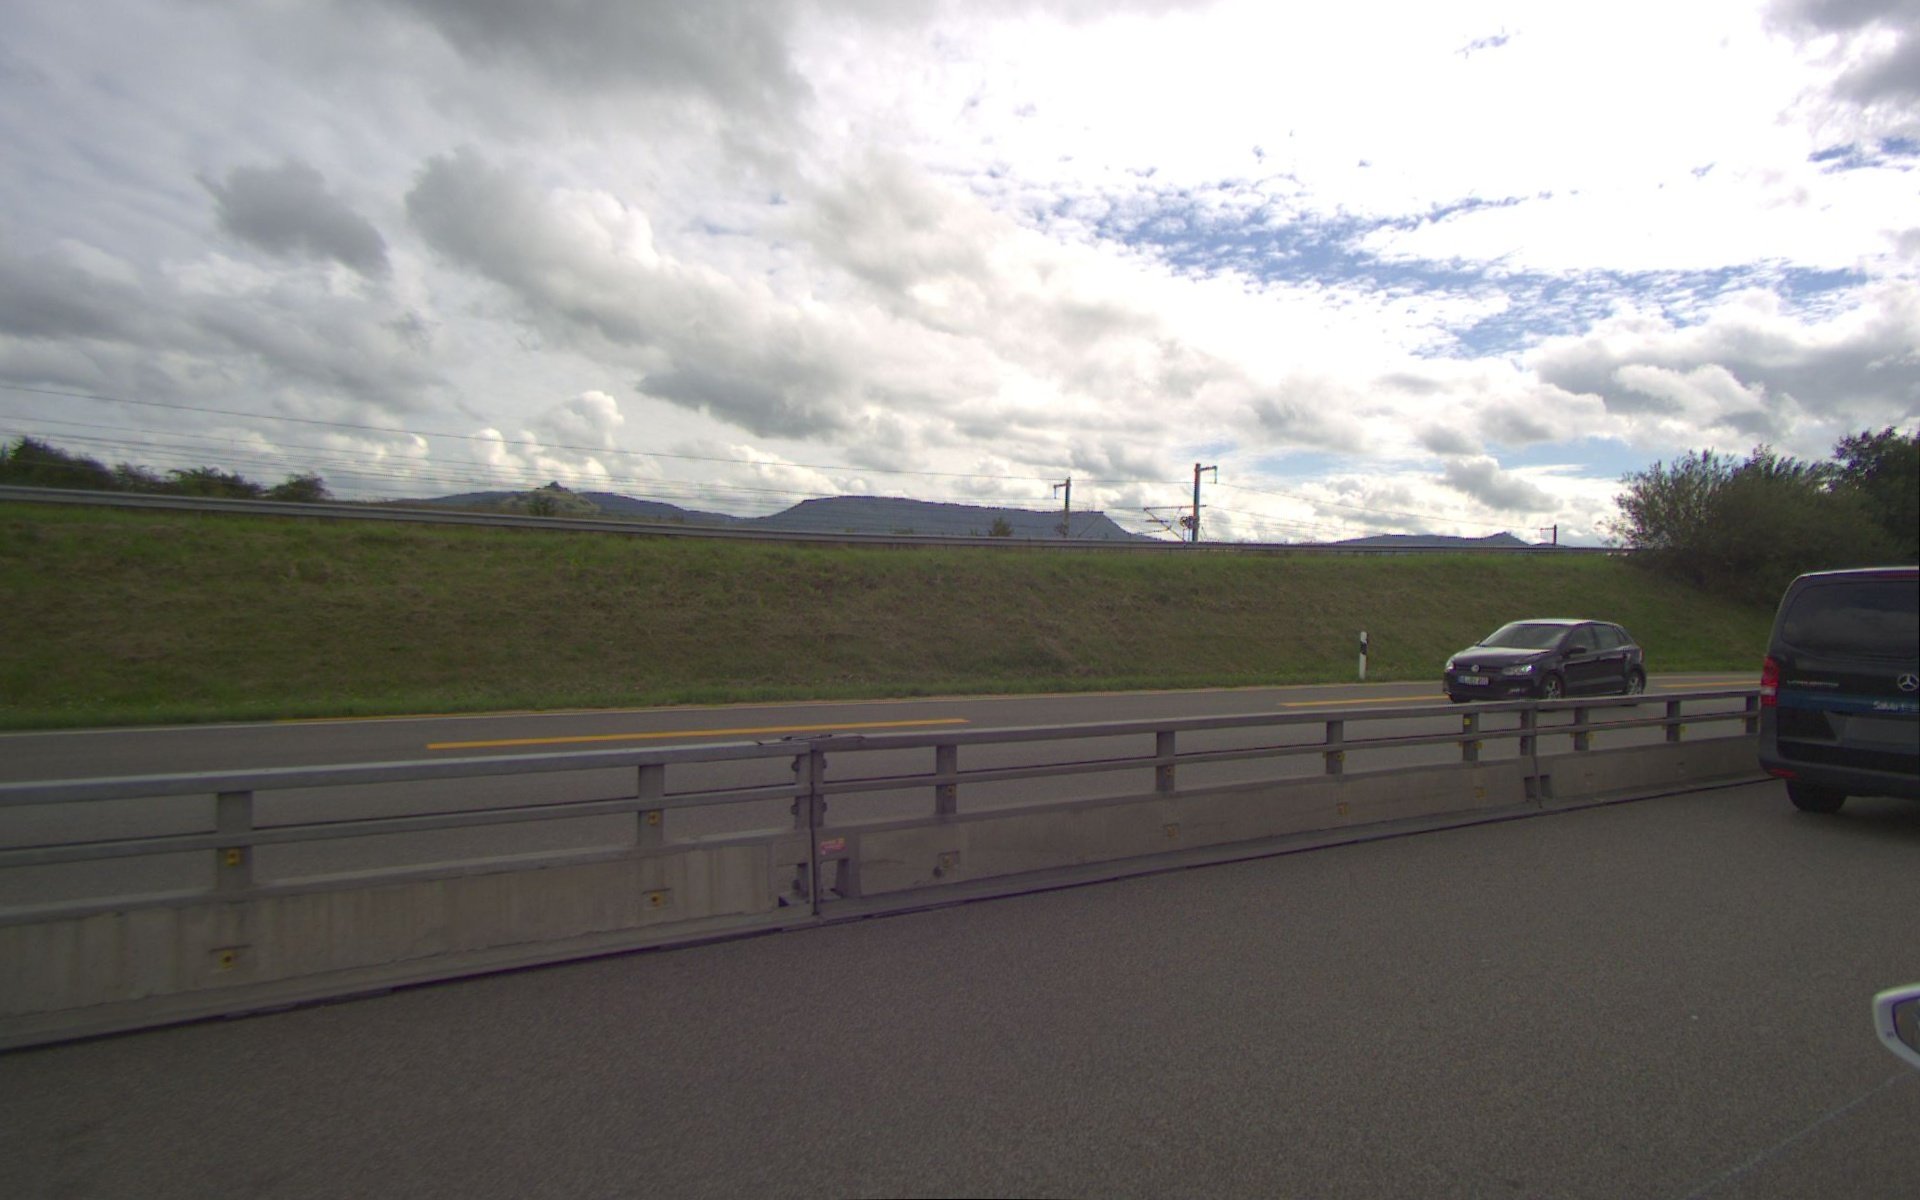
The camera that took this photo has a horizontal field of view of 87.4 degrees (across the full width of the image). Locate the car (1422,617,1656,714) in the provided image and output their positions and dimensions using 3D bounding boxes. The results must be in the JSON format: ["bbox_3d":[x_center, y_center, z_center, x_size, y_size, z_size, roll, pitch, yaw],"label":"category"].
[{"bbox_3d":[9.702,1.026,16.768,3.956,1.407,1.748,1,0,-32],"label":"car"}]

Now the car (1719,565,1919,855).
[{"bbox_3d":[8.528,0.771,8.001,5.543,1.867,1.984,1,-1,-30],"label":"car"}]
